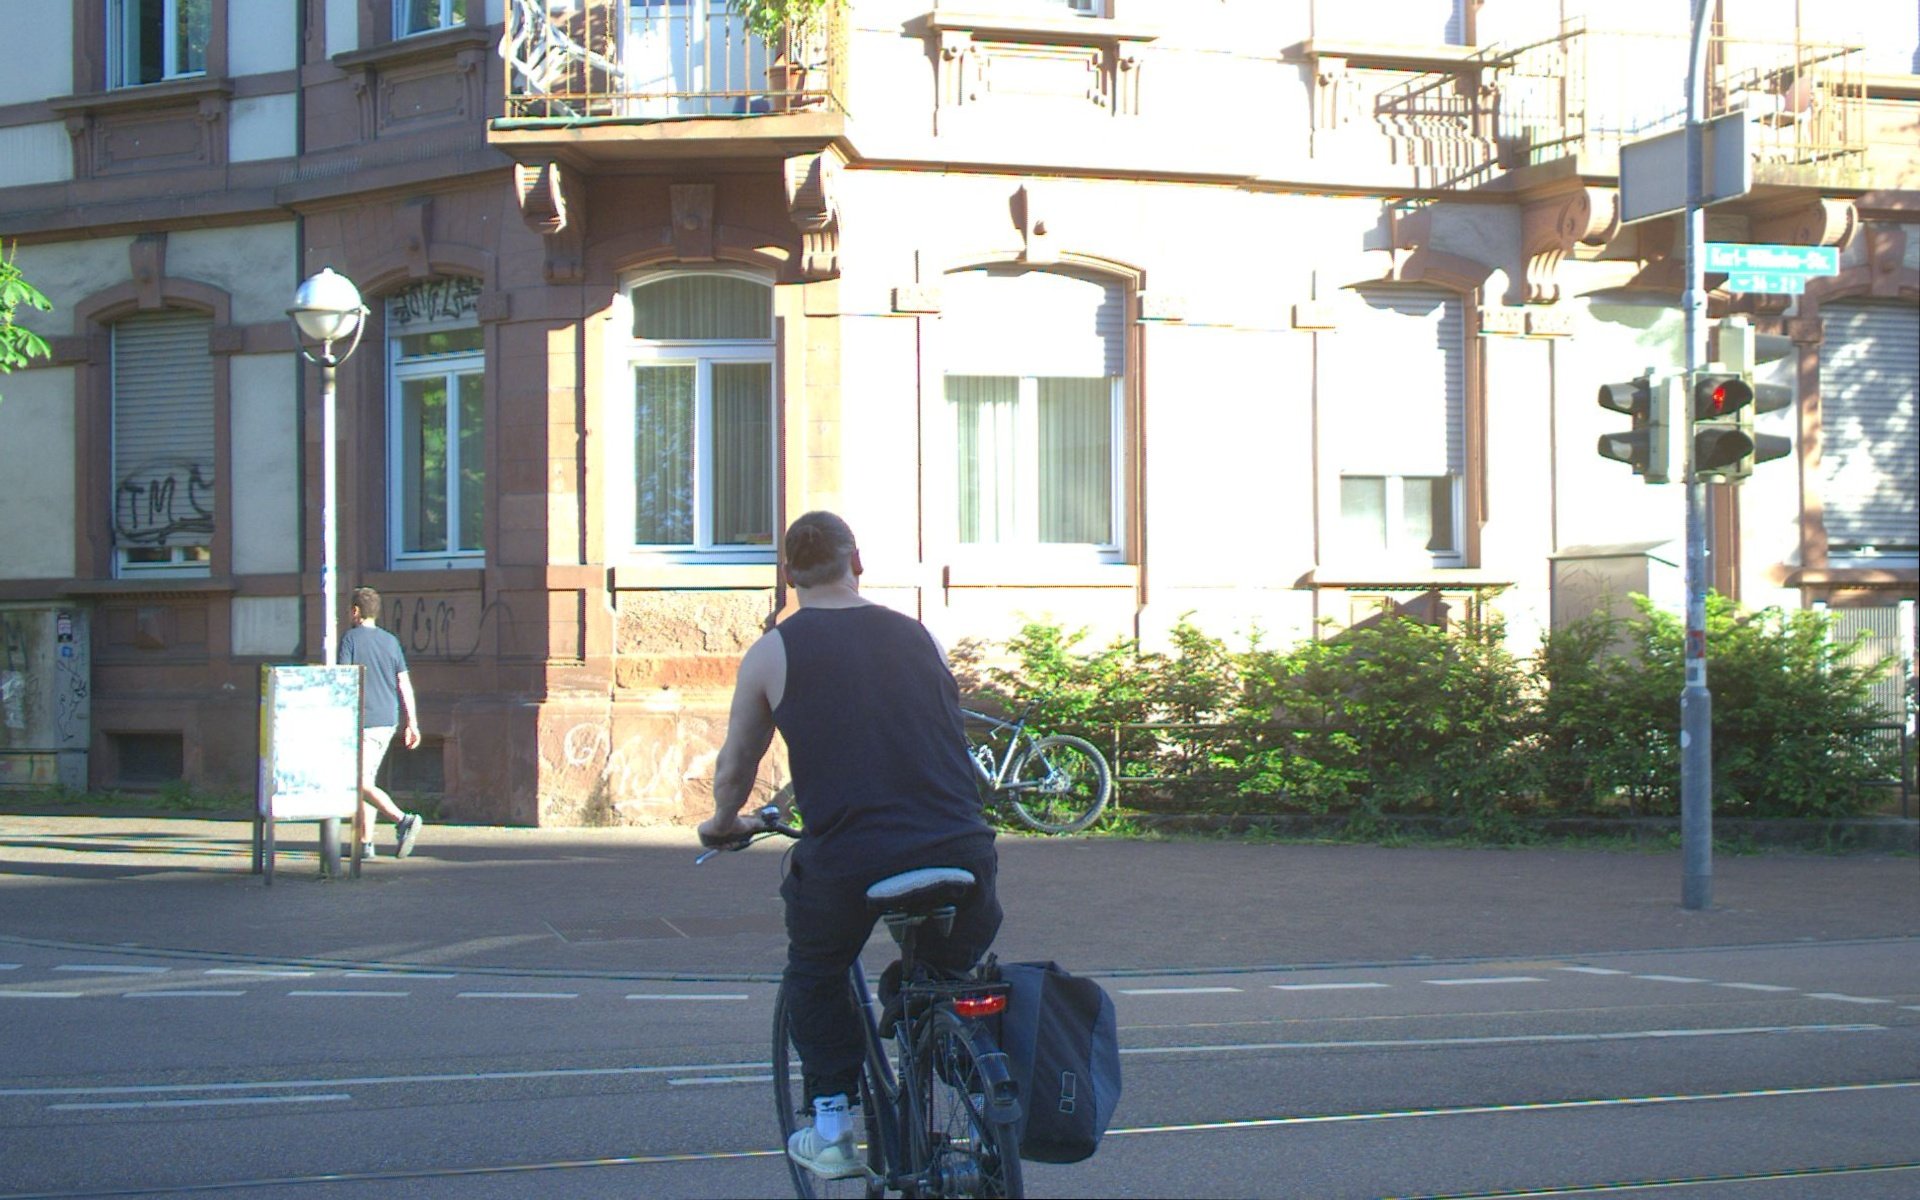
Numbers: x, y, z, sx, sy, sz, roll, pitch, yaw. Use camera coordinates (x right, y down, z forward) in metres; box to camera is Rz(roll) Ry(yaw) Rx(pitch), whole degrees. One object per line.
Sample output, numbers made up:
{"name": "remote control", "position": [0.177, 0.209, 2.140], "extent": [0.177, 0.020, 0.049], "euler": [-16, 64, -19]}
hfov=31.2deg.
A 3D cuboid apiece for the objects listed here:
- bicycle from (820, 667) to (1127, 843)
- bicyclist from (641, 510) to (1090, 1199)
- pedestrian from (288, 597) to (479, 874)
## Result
{"name": "bicycle", "position": [0.086, 1.004, 22.533], "extent": [1.961, 1.103, 0.443], "euler": [0, 0, 14]}
{"name": "bicyclist", "position": [-0.229, 0.662, 7.563], "extent": [0.686, 1.650, 0.989], "euler": [-2, -2, -18]}
{"name": "pedestrian", "position": [-3.535, 0.810, 21.080], "extent": [0.904, 1.629, 0.724], "euler": [1, 2, 38]}
